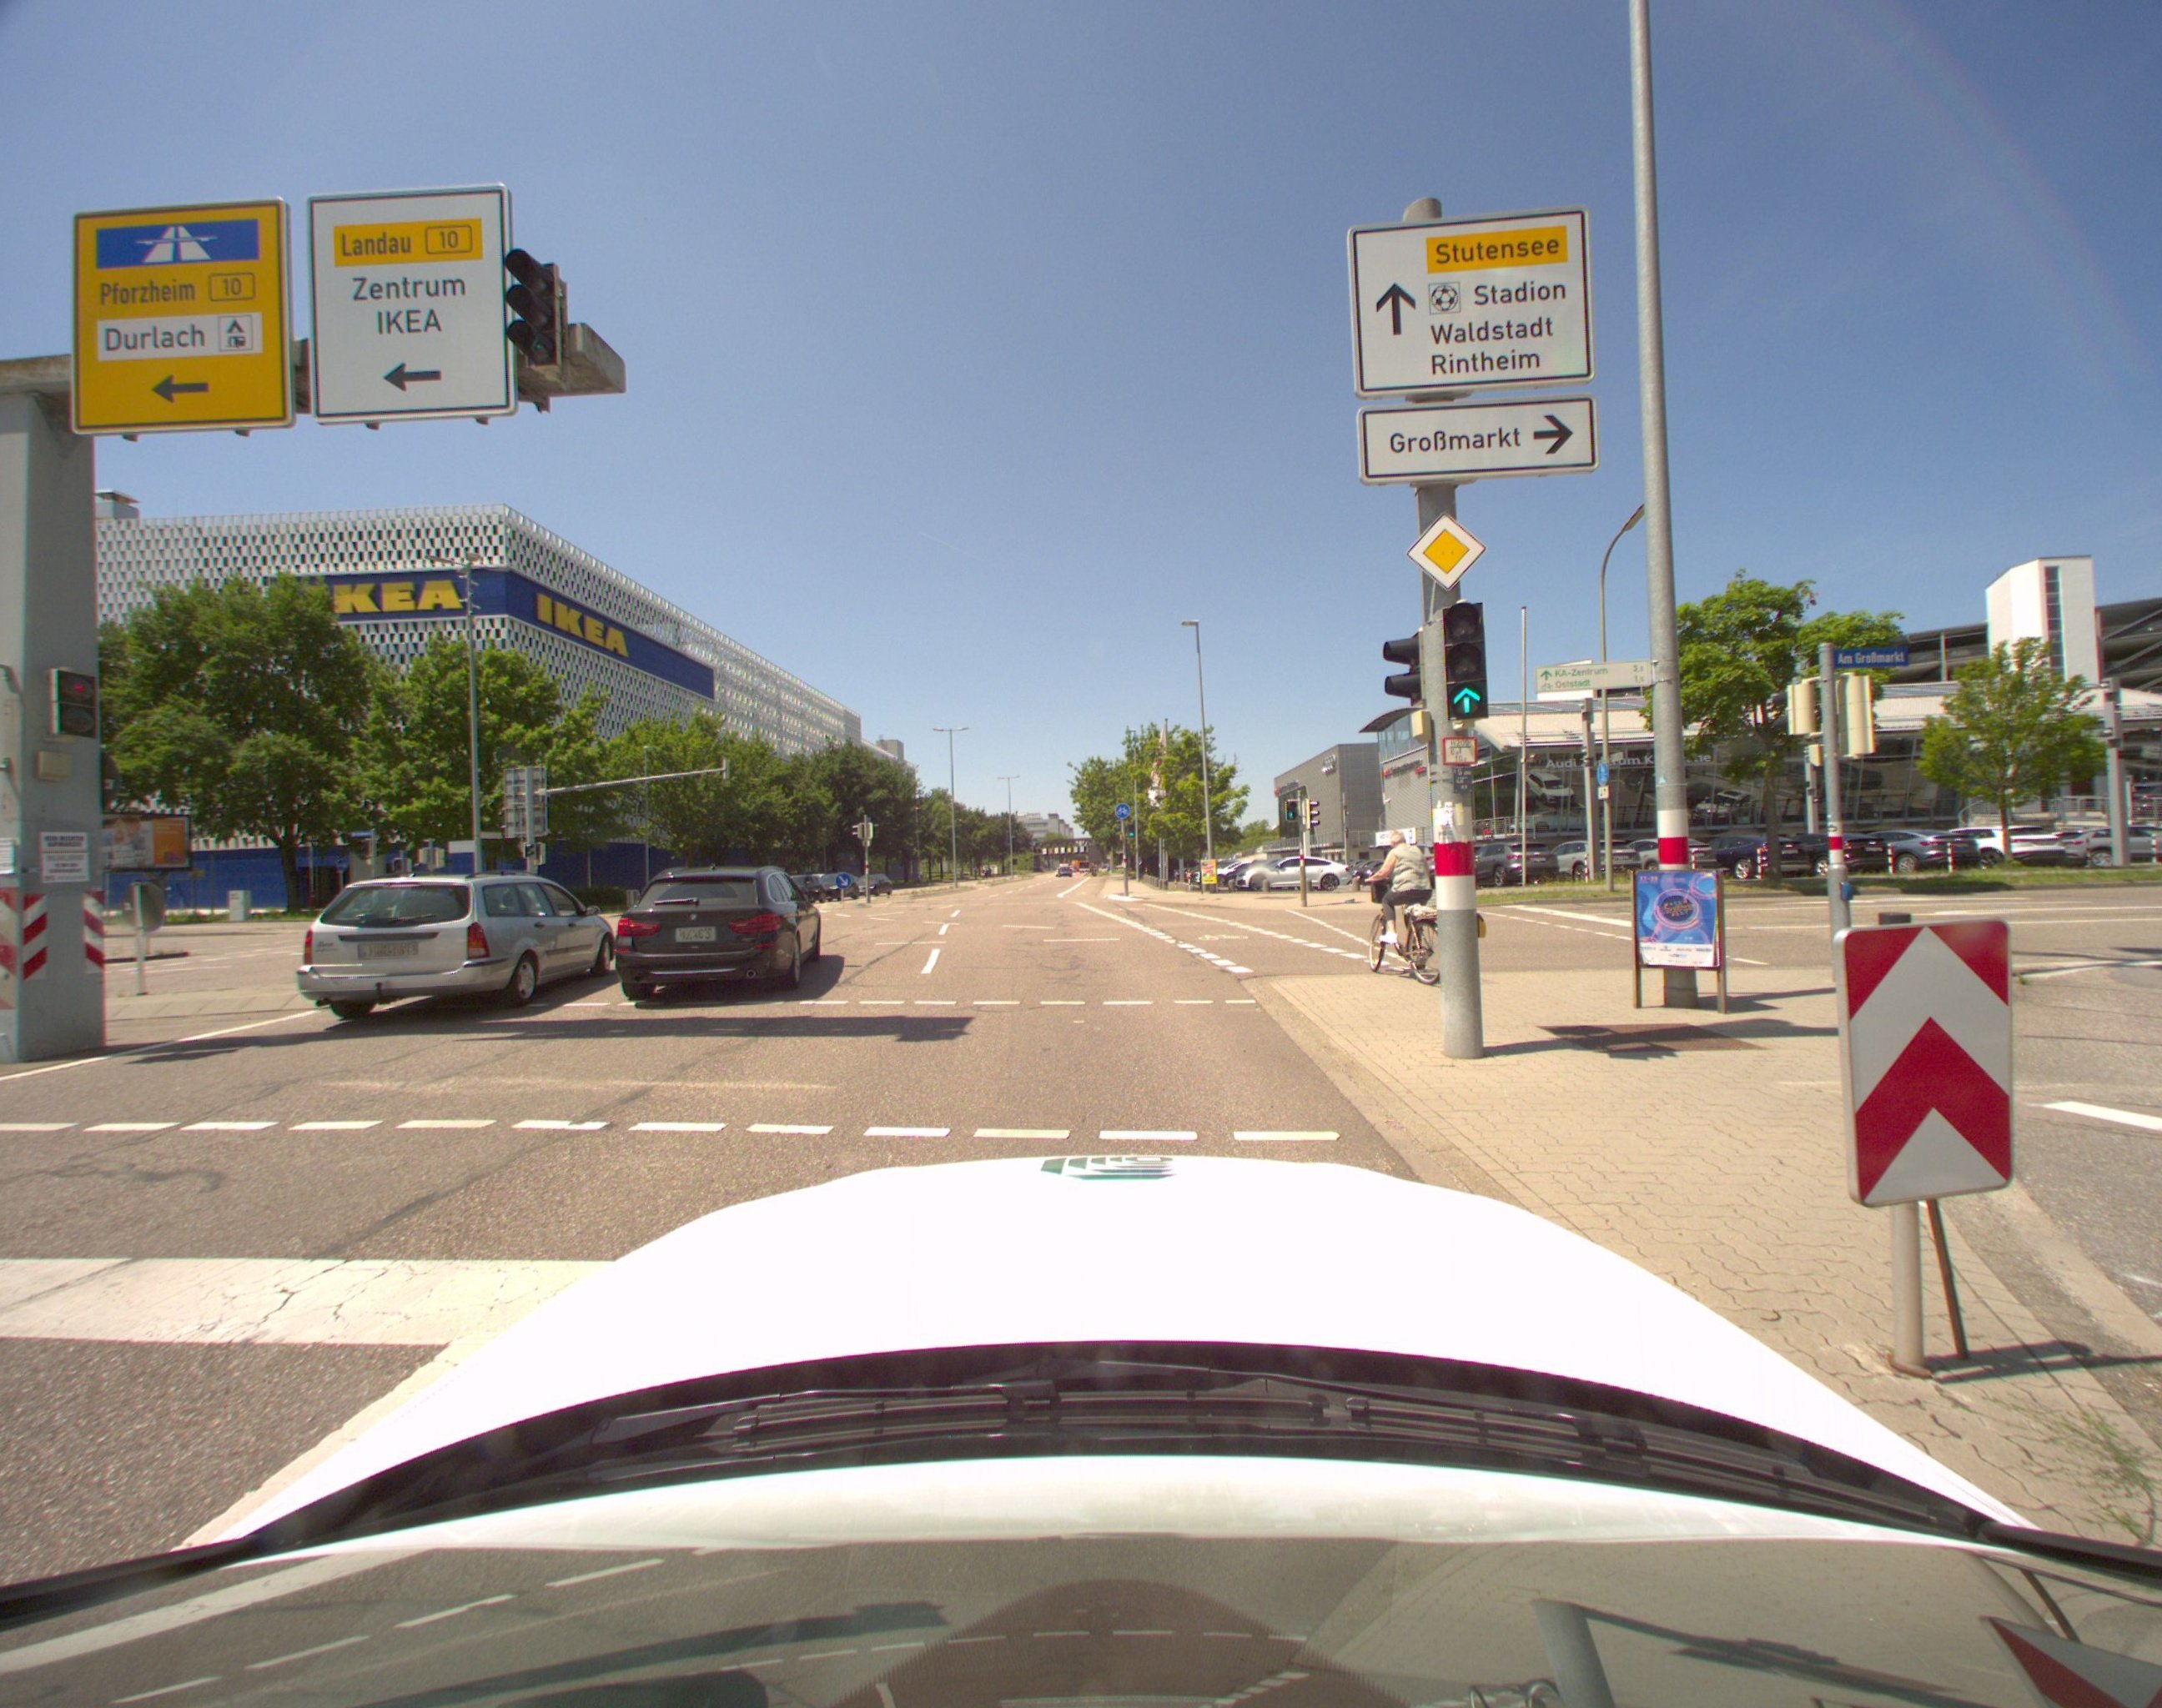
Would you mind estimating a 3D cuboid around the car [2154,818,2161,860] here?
[{"bbox_3d":[39.463,-0.621,26.842,4.558,1.471,1.861,-3,-1,26],"label":"car"}]

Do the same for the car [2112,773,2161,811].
[{"bbox_3d":[53.477,-3.118,39.359,1.905,1.722,4.142,-2,-1,-5],"label":"car"}]

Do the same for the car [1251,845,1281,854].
[{"bbox_3d":[27.446,-0.598,120.762,3.930,1.211,1.715,-1,-1,-3],"label":"car"}]

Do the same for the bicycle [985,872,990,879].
[{"bbox_3d":[-16.602,3.772,144.664,0.627,1.159,2.118,-4,-1,1],"label":"bicycle"}]

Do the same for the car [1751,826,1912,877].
[{"bbox_3d":[25.913,-0.055,28.327,1.840,1.654,3.994,0,-1,-2],"label":"car"}]

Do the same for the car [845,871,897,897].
[{"bbox_3d":[-13.421,1.901,52.388,1.718,1.446,4.725,-4,-1,4],"label":"car"}]

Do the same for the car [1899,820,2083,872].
[{"bbox_3d":[31.188,-0.220,28.118,1.840,1.654,3.994,0,-1,-2],"label":"car"}]

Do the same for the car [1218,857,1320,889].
[{"bbox_3d":[8.192,0.822,35.758,4.081,1.390,1.869,0,-1,1],"label":"car"}]

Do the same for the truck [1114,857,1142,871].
[{"bbox_3d":[9.965,2.042,171.930,5.588,2.850,2.618,0,-1,-6],"label":"truck"}]

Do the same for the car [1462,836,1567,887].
[{"bbox_3d":[15.068,0.281,28.544,1.836,1.654,4.003,0,-1,5],"label":"car"}]

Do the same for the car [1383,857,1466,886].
[{"bbox_3d":[19.342,0.982,45.952,3.970,1.622,1.657,0,-1,1],"label":"car"}]

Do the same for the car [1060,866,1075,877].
[{"bbox_3d":[-1.828,2.307,110.452,1.894,1.376,4.232,-2,-1,1],"label":"car"}]

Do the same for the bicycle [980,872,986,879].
[{"bbox_3d":[-16.276,3.567,134.771,0.737,1.125,2.433,-2,-1,-1],"label":"bicycle"}]

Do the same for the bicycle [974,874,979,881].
[{"bbox_3d":[-17.184,3.812,134.044,0.635,1.134,1.970,-2,-1,0],"label":"bicycle"}]

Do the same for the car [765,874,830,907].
[{"bbox_3d":[-13.678,1.723,39.483,1.637,1.389,3.717,-4,-1,2],"label":"car"}]

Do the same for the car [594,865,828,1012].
[{"bbox_3d":[-4.508,0.890,10.682,1.799,1.440,4.538,-1,-1,-12],"label":"car"}]

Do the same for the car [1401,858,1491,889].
[{"bbox_3d":[19.422,1.038,43.456,3.970,1.598,1.851,0,-1,1],"label":"car"}]

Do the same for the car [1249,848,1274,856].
[{"bbox_3d":[27.444,-0.327,123.892,3.515,1.239,1.675,0,-1,-3],"label":"car"}]

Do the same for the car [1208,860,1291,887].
[{"bbox_3d":[8.972,1.040,43.563,4.081,1.364,1.875,0,-1,1],"label":"car"}]

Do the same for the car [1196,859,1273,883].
[{"bbox_3d":[8.715,0.961,46.397,4.084,1.349,1.869,0,-1,1],"label":"car"}]

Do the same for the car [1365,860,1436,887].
[{"bbox_3d":[19.118,1.138,48.884,3.634,1.580,1.643,0,-1,1],"label":"car"}]

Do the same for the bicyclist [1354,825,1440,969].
[{"bbox_3d":[3.686,0.483,9.551,0.627,1.606,0.824,0,-1,-5],"label":"bicyclist"}]

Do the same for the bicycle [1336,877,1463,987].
[{"bbox_3d":[3.687,0.852,9.599,0.626,1.133,1.892,-1,-1,-4],"label":"bicycle"}]

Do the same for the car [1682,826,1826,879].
[{"bbox_3d":[23.106,-0.026,28.168,1.624,1.654,3.907,-1,-1,-2],"label":"car"}]

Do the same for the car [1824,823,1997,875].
[{"bbox_3d":[28.503,-0.141,28.187,1.840,1.654,3.994,0,-1,-2],"label":"car"}]

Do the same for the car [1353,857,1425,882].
[{"bbox_3d":[19.444,0.974,51.512,3.967,1.573,1.634,0,-1,1],"label":"car"}]

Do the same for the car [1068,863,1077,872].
[{"bbox_3d":[-1.908,2.996,178.827,1.888,1.816,4.001,-2,-1,1],"label":"car"}]

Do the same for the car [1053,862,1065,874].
[{"bbox_3d":[-3.953,2.521,146.469,1.986,2.014,4.000,-1,-1,1],"label":"car"}]

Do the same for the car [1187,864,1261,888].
[{"bbox_3d":[8.563,1.305,49.125,4.210,1.390,1.869,0,-1,1],"label":"car"}]

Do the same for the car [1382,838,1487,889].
[{"bbox_3d":[12.372,0.389,28.851,1.860,1.558,4.506,-3,-2,3],"label":"car"}]

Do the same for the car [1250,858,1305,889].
[{"bbox_3d":[9.475,0.915,39.543,1.855,1.420,4.667,0,-1,4],"label":"car"}]

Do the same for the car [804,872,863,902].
[{"bbox_3d":[-13.722,1.811,45.400,1.720,1.505,4.245,-4,-1,2],"label":"car"}]

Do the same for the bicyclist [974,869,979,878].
[{"bbox_3d":[-17.223,3.215,134.014,0.635,1.582,0.884,-2,-1,0],"label":"bicyclist"}]

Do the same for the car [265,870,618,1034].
[{"bbox_3d":[-7.135,0.948,9.683,1.694,1.422,3.992,-1,0,-12],"label":"car"}]

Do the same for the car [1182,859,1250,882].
[{"bbox_3d":[8.580,1.042,52.030,4.085,1.405,1.869,0,-1,1],"label":"car"}]

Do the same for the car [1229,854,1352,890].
[{"bbox_3d":[8.446,0.713,33.139,4.572,1.390,1.870,0,-1,3],"label":"car"}]

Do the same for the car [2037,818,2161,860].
[{"bbox_3d":[39.767,-0.593,30.602,4.531,1.472,1.925,-3,-1,26],"label":"car"}]

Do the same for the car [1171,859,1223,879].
[{"bbox_3d":[8.568,1.118,60.237,3.668,1.453,1.834,0,-1,1],"label":"car"}]

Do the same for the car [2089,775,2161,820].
[{"bbox_3d":[45.653,-2.408,33.971,4.552,1.707,1.916,-2,-1,4],"label":"car"}]

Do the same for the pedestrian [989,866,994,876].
[{"bbox_3d":[-18.165,3.458,165.271,0.741,1.884,0.578,-2,-1,2],"label":"pedestrian"}]

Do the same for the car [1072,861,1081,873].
[{"bbox_3d":[-1.114,3.269,199.889,2.065,2.854,6.765,-2,-1,1],"label":"car"}]

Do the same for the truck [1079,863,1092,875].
[{"bbox_3d":[0.944,3.121,168.441,2.449,2.410,7.136,0,-1,2],"label":"truck"}]

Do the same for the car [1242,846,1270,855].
[{"bbox_3d":[27.695,-0.523,128.805,3.977,1.312,1.795,0,-1,-3],"label":"car"}]

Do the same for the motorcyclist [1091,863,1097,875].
[{"bbox_3d":[1.697,1.945,106.003,0.719,1.529,0.868,0,-1,-8],"label":"motorcyclist"}]

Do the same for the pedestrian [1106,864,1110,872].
[{"bbox_3d":[4.763,2.517,143.832,0.621,1.374,0.564,-2,-1,0],"label":"pedestrian"}]

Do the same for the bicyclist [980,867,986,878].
[{"bbox_3d":[-16.189,3.044,134.716,0.743,1.686,0.951,-2,-1,-2],"label":"bicyclist"}]

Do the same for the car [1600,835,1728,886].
[{"bbox_3d":[20.208,0.196,28.452,1.632,1.616,3.815,-1,0,-2],"label":"car"}]

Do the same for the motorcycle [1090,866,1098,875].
[{"bbox_3d":[1.711,2.164,105.954,0.716,1.105,1.825,0,-1,-8],"label":"motorcycle"}]

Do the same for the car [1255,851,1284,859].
[{"bbox_3d":[27.094,0.139,116.936,3.716,1.130,1.682,0,-1,-3],"label":"car"}]

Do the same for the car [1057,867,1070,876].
[{"bbox_3d":[-2.738,2.764,131.304,1.917,1.420,4.000,-2,-1,1],"label":"car"}]

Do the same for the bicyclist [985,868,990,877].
[{"bbox_3d":[-16.635,3.300,144.623,0.631,1.629,1.045,-4,-1,1],"label":"bicyclist"}]

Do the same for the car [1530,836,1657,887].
[{"bbox_3d":[17.860,0.266,28.637,1.840,1.654,3.994,0,-1,-2],"label":"car"}]
